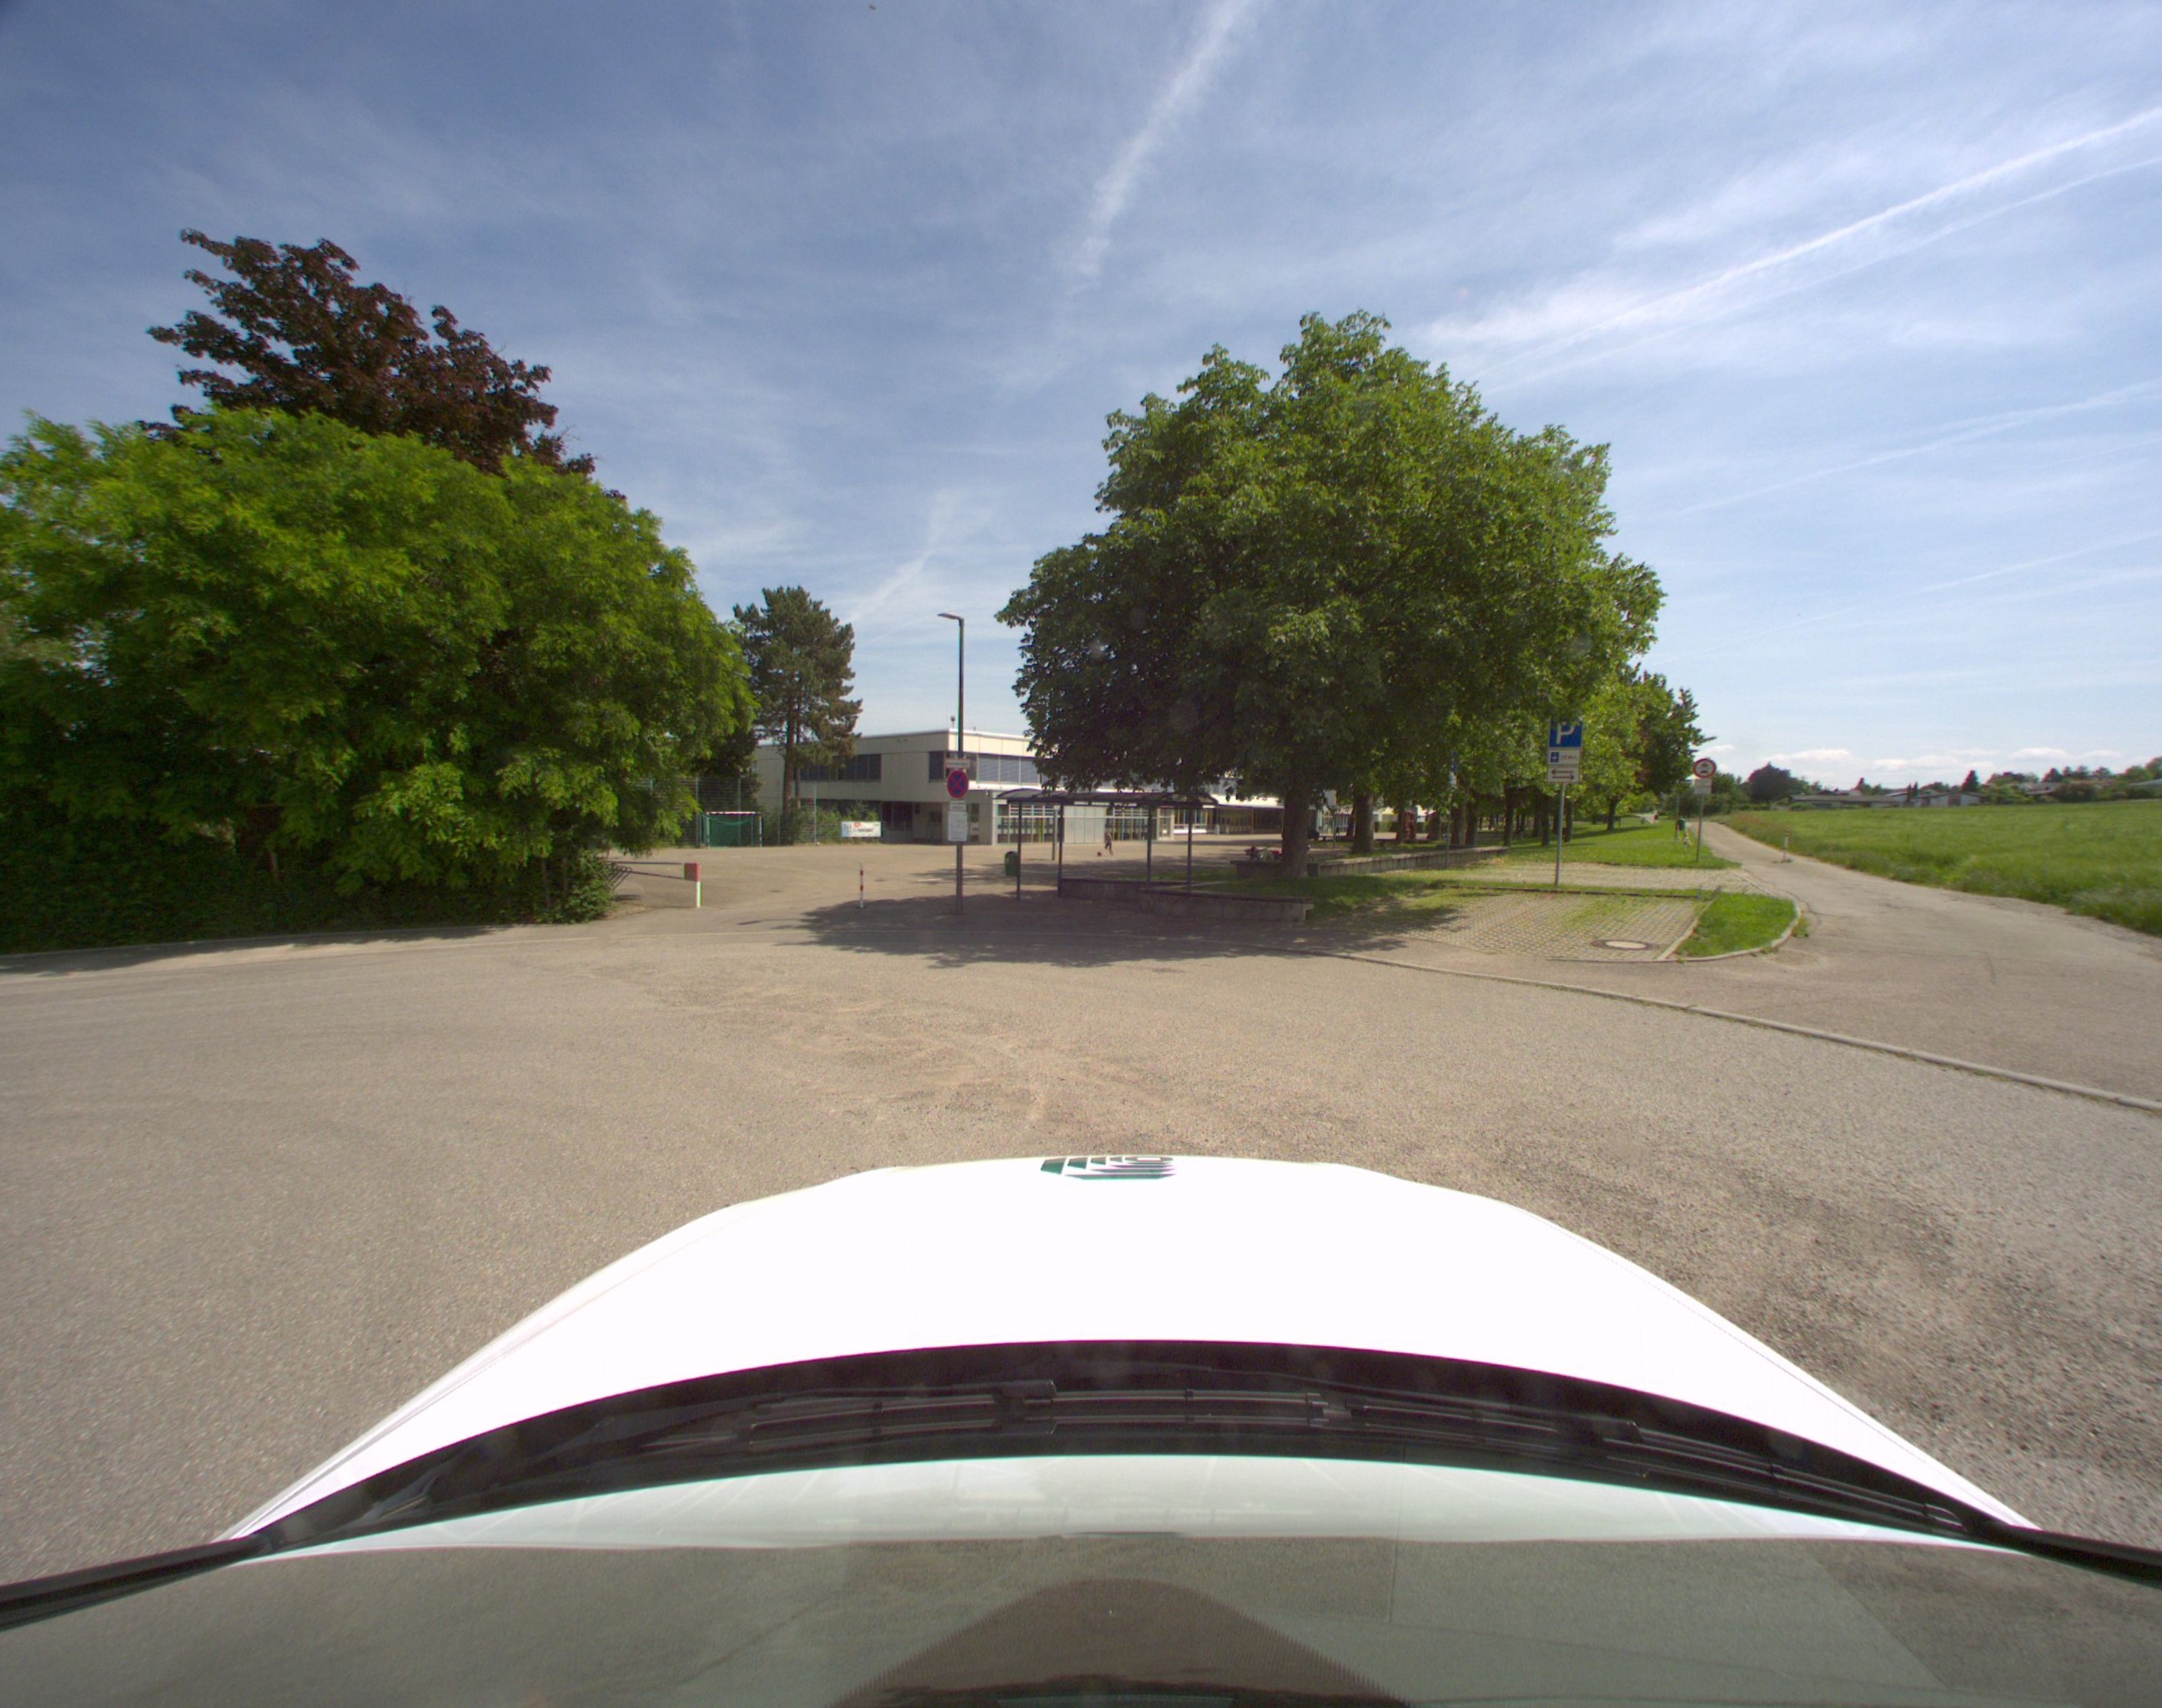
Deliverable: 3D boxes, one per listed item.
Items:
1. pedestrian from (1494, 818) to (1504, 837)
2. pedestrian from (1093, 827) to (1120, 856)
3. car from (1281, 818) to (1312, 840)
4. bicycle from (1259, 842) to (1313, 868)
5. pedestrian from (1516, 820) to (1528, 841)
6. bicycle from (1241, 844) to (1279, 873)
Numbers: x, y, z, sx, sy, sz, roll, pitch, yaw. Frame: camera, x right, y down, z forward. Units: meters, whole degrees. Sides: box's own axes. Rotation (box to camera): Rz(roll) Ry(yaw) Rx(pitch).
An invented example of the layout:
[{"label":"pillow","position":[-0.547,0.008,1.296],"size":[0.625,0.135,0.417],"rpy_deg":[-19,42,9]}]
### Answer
[{"label":"pedestrian","position":[44.699,-2.858,87.022],"size":[0.826,2.013,0.695],"rpy_deg":[1,2,18]},{"label":"pedestrian","position":[1.300,-0.655,41.586],"size":[1.074,1.423,0.910],"rpy_deg":[0,2,-36]},{"label":"car","position":[18.723,-2.183,70.587],"size":[1.675,1.834,3.433],"rpy_deg":[1,2,32]},{"label":"bicycle","position":[8.280,0.041,32.970],"size":[2.043,1.039,0.575],"rpy_deg":[0,1,26]},{"label":"pedestrian","position":[42.684,-2.314,78.861],"size":[0.680,2.013,0.804],"rpy_deg":[1,2,1]},{"label":"bicycle","position":[6.927,0.159,31.462],"size":[0.589,1.039,1.905],"rpy_deg":[1,2,41]}]
